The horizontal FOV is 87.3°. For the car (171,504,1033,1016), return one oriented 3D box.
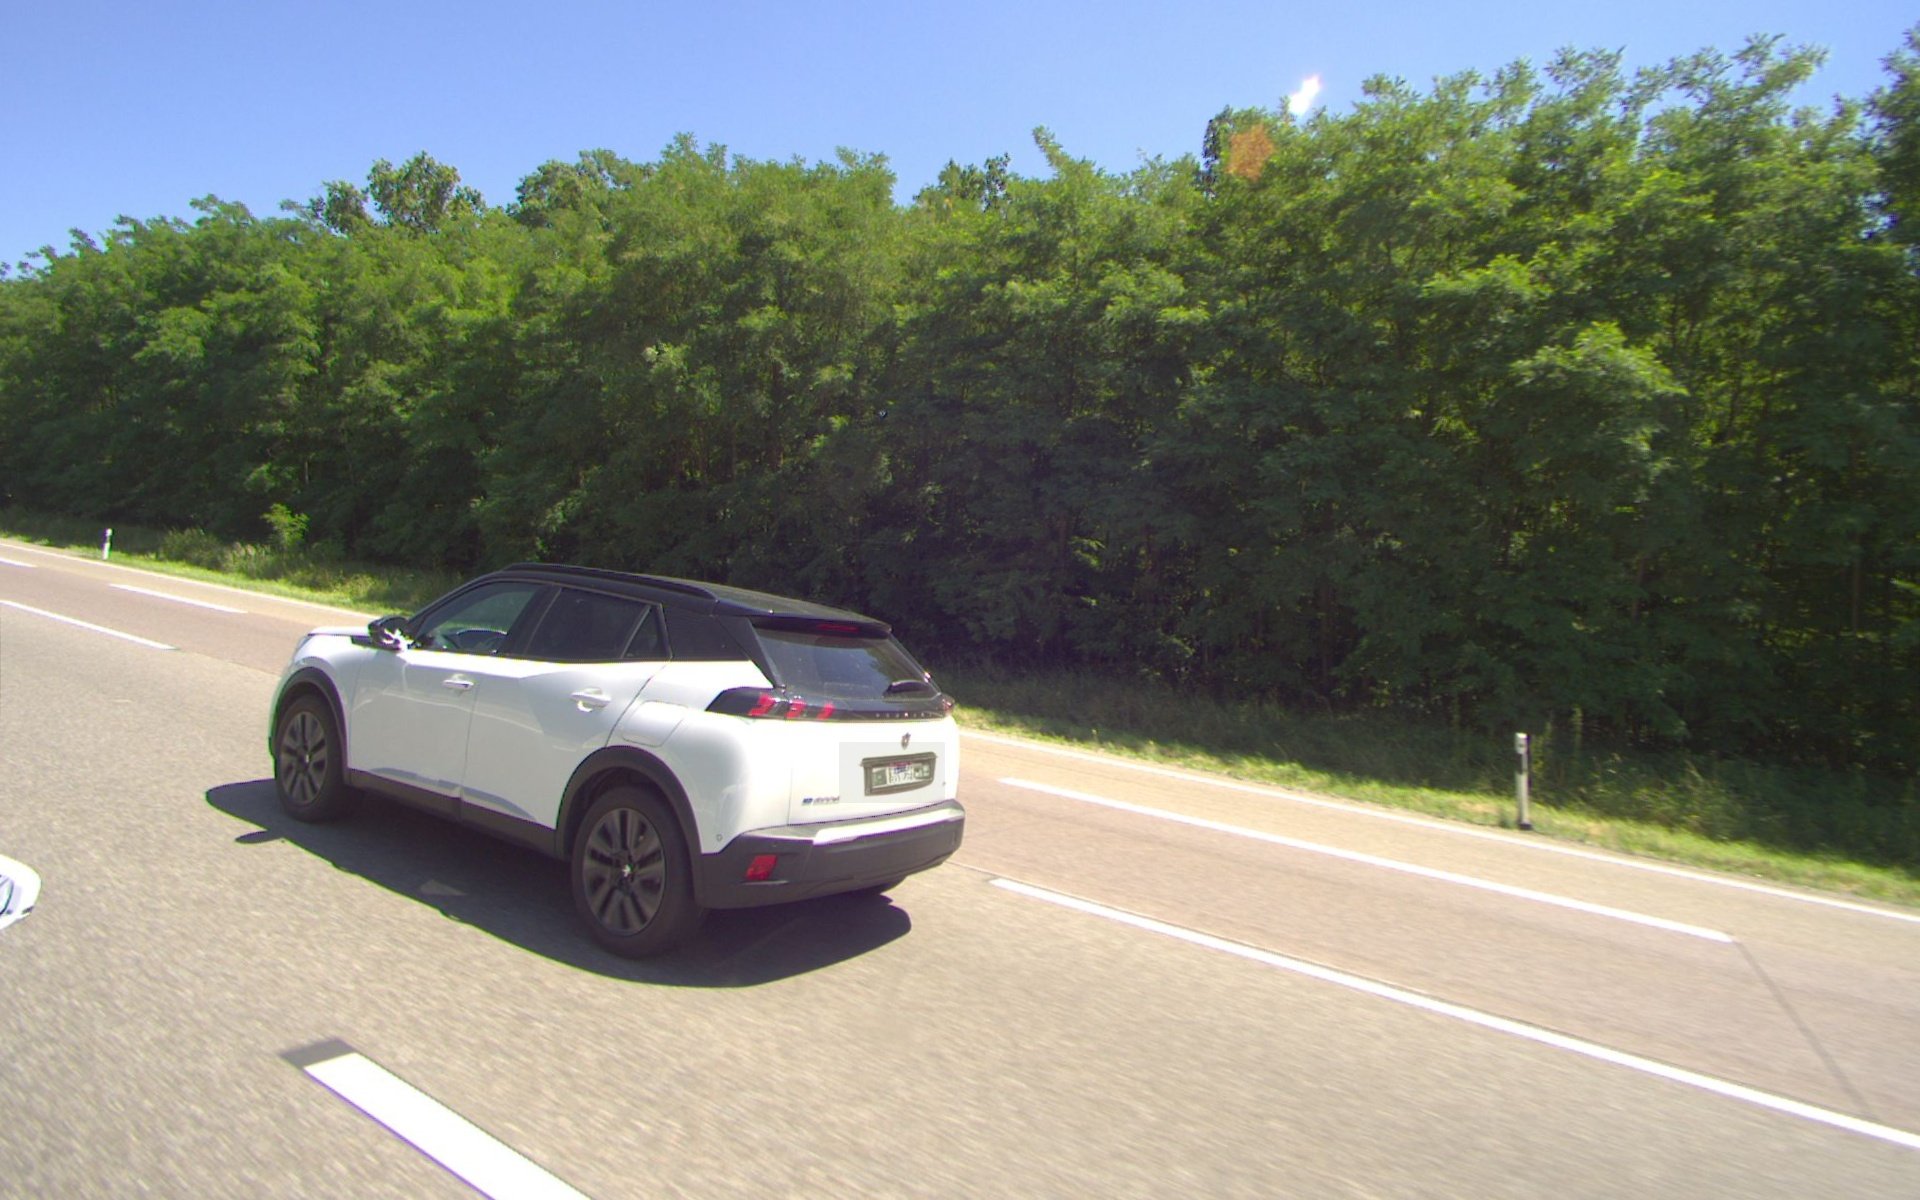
[{"bbox_3d":[-2.188,0.528,5.595,4.729,1.627,1.830,6,-1,32],"label":"car"}]
